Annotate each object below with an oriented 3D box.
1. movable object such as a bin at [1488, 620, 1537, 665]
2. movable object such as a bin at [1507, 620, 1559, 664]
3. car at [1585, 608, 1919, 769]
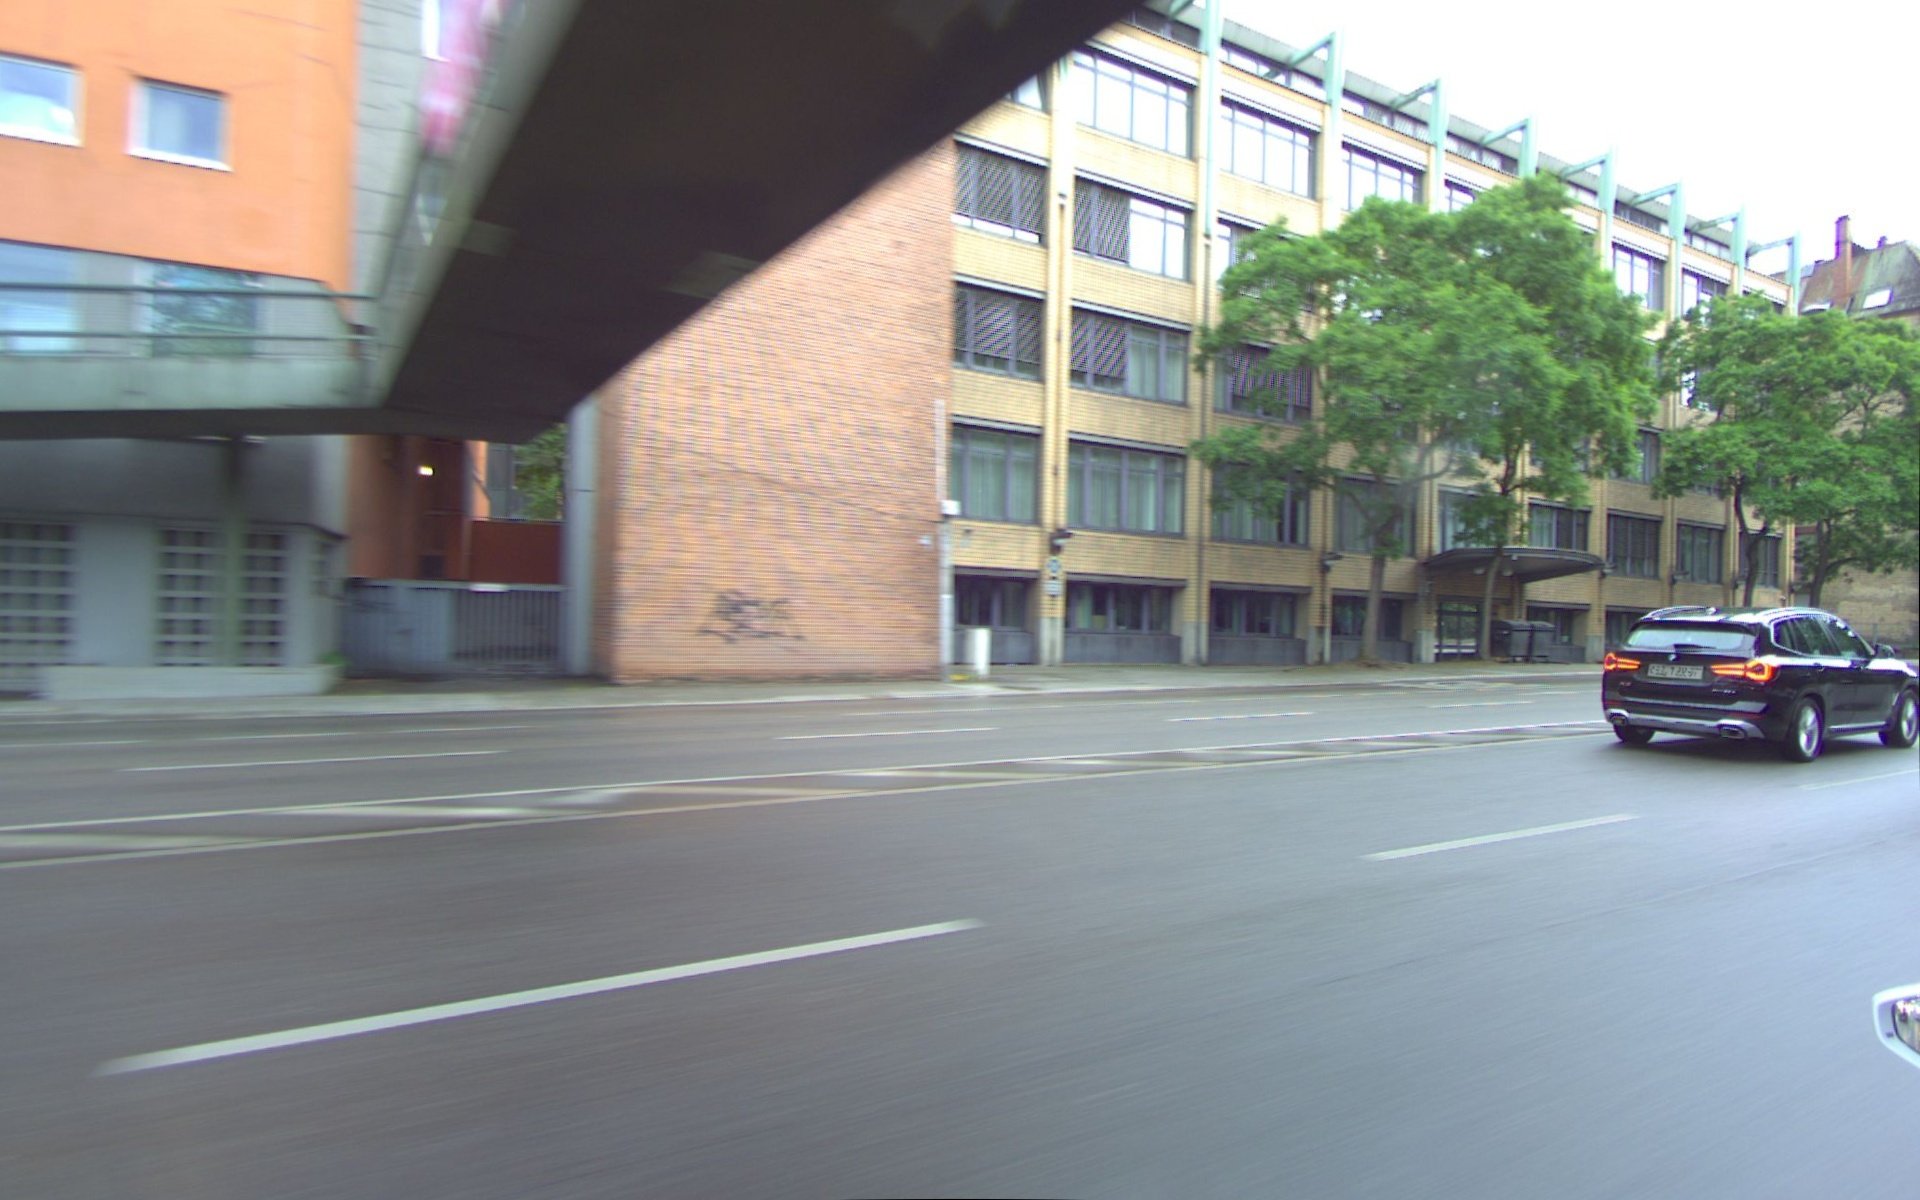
[{"bbox_3d":[18.775,1.424,34.129,1.300,1.455,0.967,1,1,-34],"label":"movable object such as a bin"},{"bbox_3d":[19.889,1.458,34.874,1.358,1.455,1.061,1,1,-34],"label":"movable object such as a bin"},{"bbox_3d":[9.609,0.957,12.051,4.360,1.607,1.749,2,0,-30],"label":"car"}]
